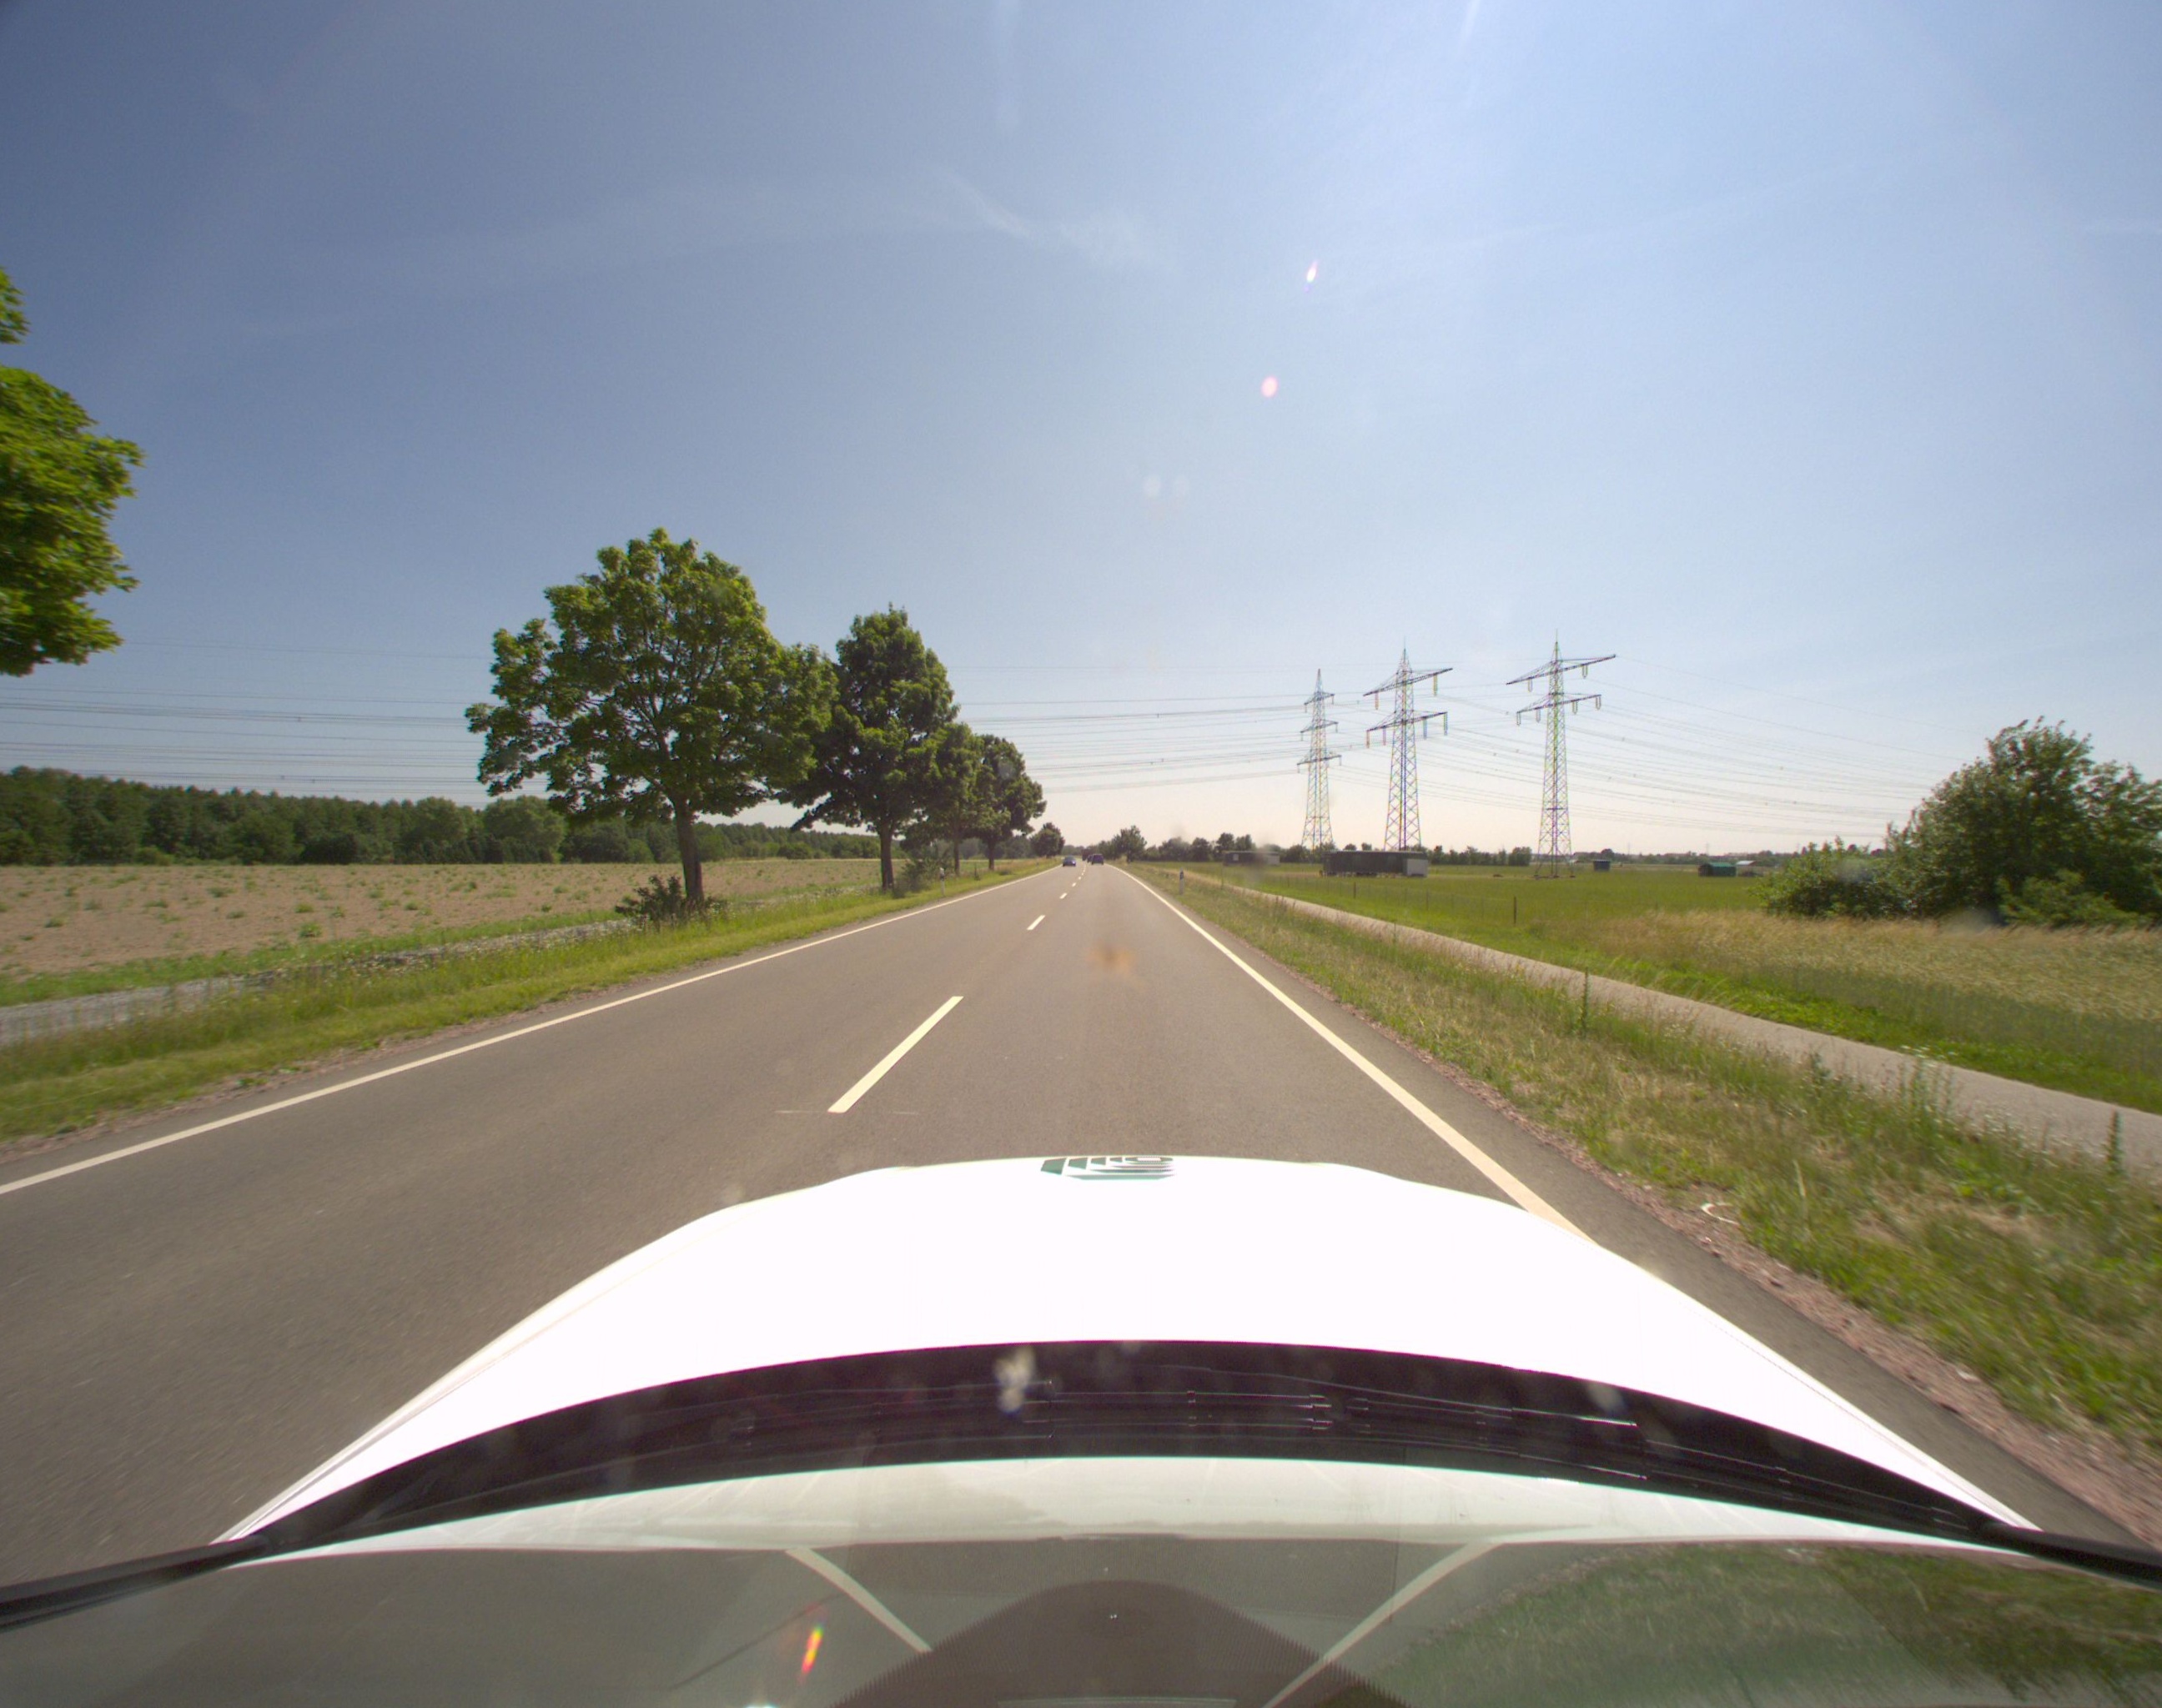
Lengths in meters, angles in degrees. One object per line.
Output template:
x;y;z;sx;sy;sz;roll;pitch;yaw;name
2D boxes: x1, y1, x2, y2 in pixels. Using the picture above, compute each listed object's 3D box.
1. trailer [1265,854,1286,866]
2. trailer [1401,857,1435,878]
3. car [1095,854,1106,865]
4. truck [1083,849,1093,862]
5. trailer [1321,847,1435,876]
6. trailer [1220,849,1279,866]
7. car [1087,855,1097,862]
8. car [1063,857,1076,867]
42.696;1.358;178.783;3.979;2.443;1.997;1;0;-4;trailer
42.071;1.658;101.732;3.397;2.462;2.037;1;0;-1;trailer
3.080;0.827;127.293;1.708;1.694;3.989;0;0;1;car
1.774;0.441;210.086;2.364;3.140;8.740;0;0;-2;truck
38.024;0.984;104.462;13.469;3.475;3.275;1;0;-1;trailer
37.614;0.811;181.722;12.379;3.473;3.802;1;0;-3;trailer
2.133;0.923;164.060;1.845;1.523;3.998;0;0;-1;car
-1.509;1.080;109.912;1.699;1.332;3.999;0;0;0;car
